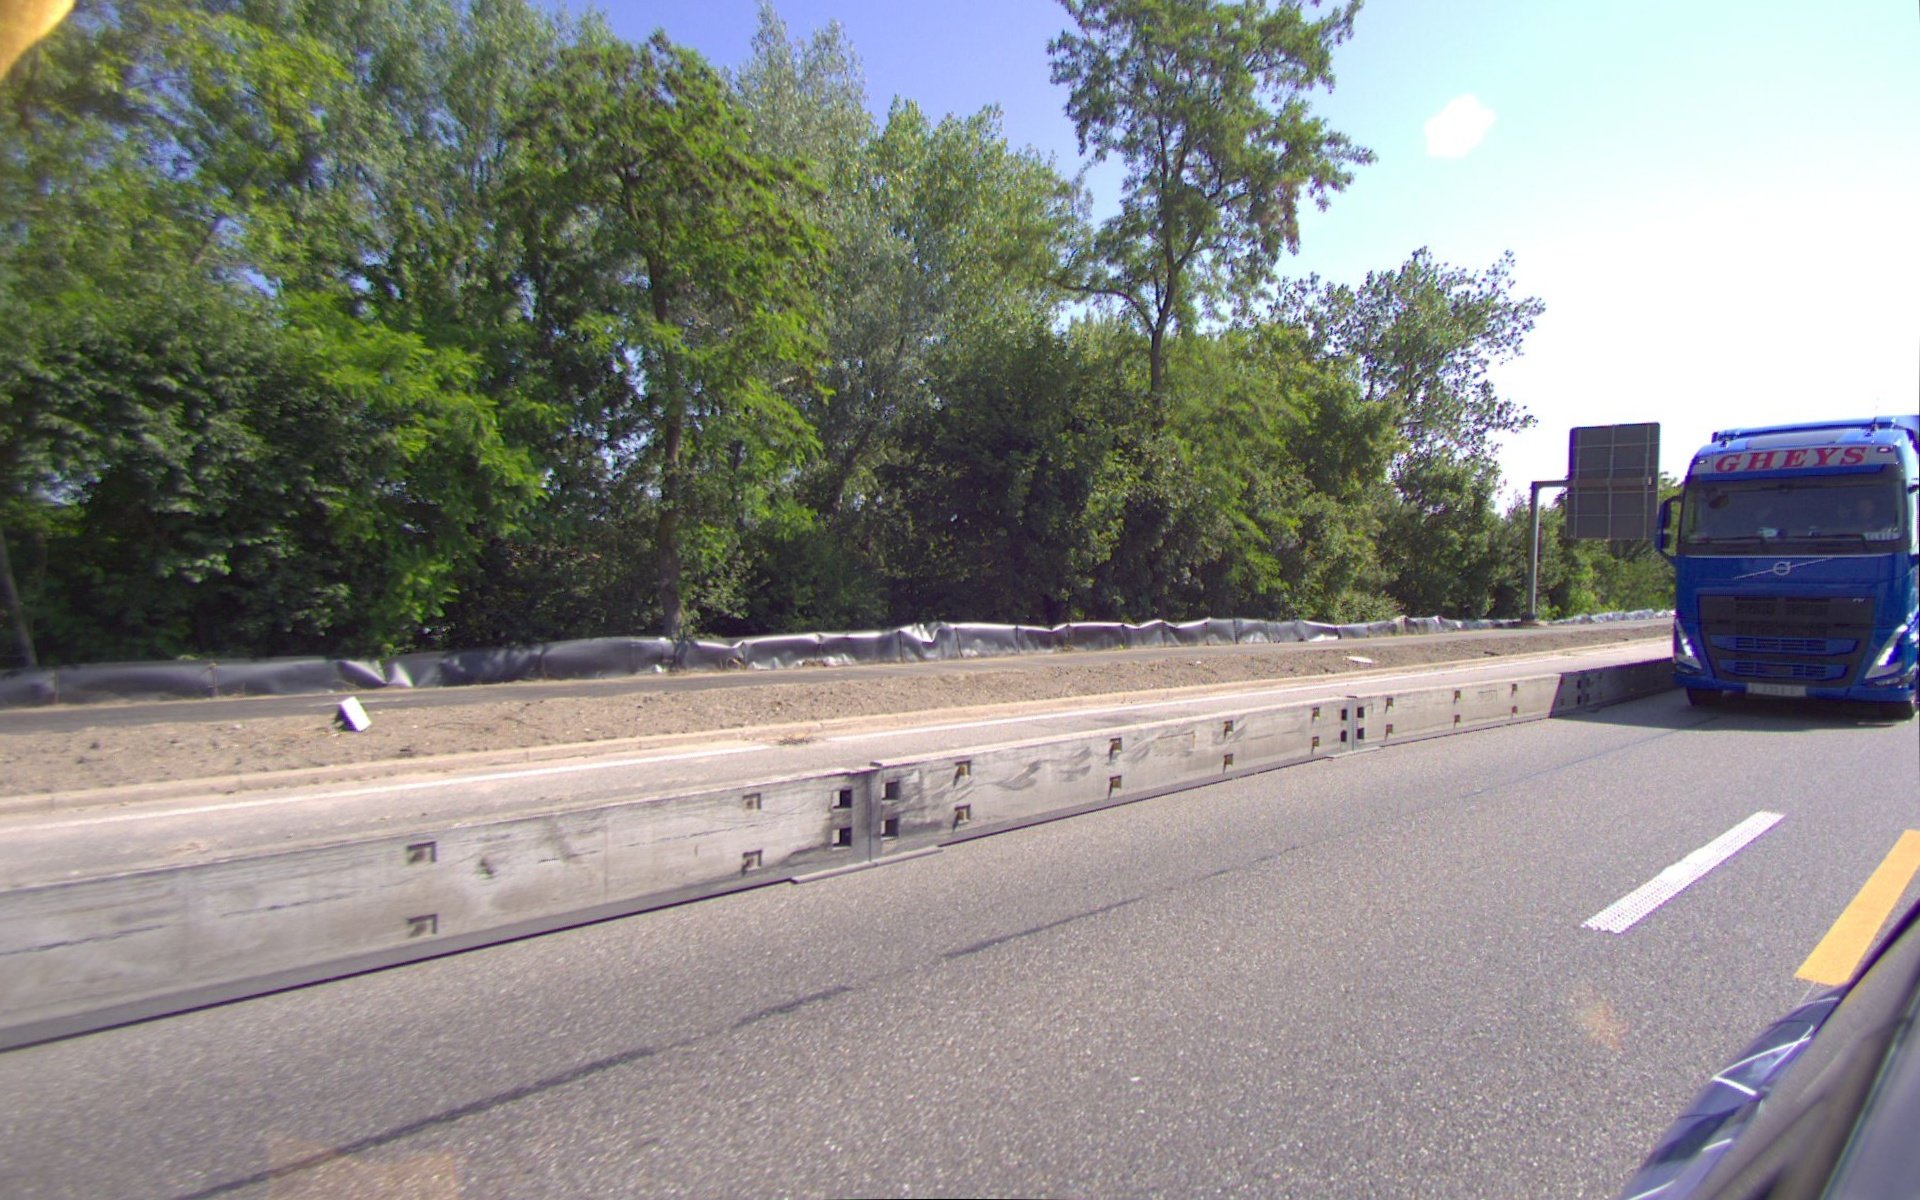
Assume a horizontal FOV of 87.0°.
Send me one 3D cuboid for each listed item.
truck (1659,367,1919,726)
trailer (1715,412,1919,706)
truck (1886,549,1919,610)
[{"bbox_3d":[12.976,-0.676,15.038,7.178,4.152,2.698,0,3,-44],"label":"truck"},{"bbox_3d":[17.635,-0.617,19.408,12.400,4.188,2.698,0,3,-43],"label":"trailer"},{"bbox_3d":[66.571,-1.335,70.388,2.855,4.033,8.528,4,3,44],"label":"truck"}]
